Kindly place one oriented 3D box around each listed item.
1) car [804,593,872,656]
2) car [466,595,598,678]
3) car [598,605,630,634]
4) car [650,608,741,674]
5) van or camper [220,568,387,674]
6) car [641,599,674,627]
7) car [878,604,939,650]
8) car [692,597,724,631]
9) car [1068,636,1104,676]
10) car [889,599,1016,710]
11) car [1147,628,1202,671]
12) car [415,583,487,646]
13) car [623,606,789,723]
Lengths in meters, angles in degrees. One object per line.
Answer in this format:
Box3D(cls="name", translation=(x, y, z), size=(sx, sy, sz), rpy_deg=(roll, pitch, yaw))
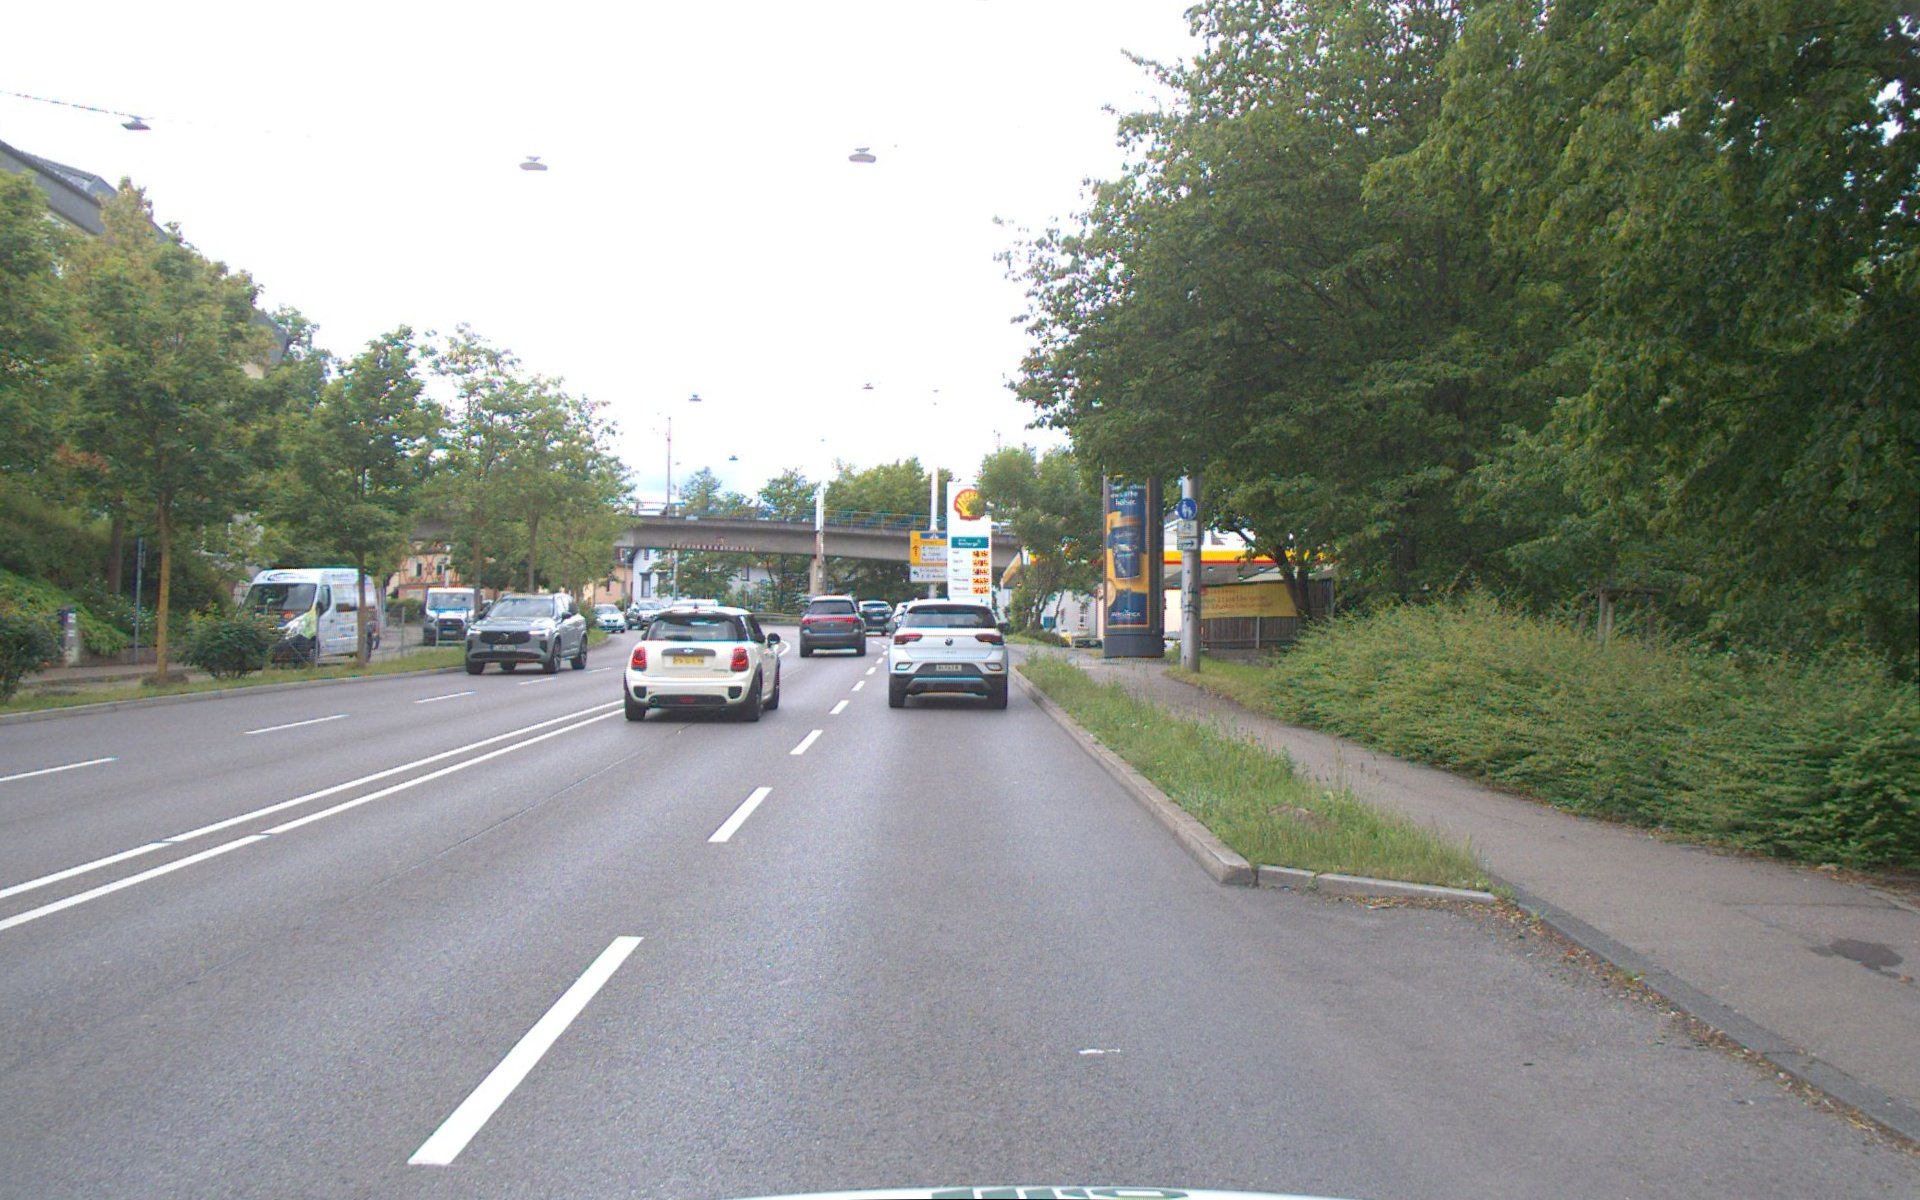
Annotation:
Box3D(cls="car", translation=(-3.390, 0.671, 46.365), size=(1.687, 1.668, 3.456), rpy_deg=(1, 0, -1))
Box3D(cls="car", translation=(-9.519, 0.772, 37.160), size=(1.728, 1.738, 4.869), rpy_deg=(0, 0, -1))
Box3D(cls="car", translation=(-18.291, 1.005, 87.478), size=(1.537, 1.456, 3.881), rpy_deg=(0, 0, -10))
Box3D(cls="car", translation=(-6.864, 1.034, 43.312), size=(1.728, 1.620, 4.365), rpy_deg=(0, 0, -1))
Box3D(cls="van or camper", translation=(-16.742, 0.518, 42.522), size=(1.952, 2.516, 5.710), rpy_deg=(-1, 0, 1))
Box3D(cls="car", translation=(-17.238, 0.740, 94.144), size=(1.754, 1.565, 4.063), rpy_deg=(0, 0, -12))
Box3D(cls="car", translation=(-1.698, 0.866, 53.931), size=(1.644, 1.433, 3.450), rpy_deg=(1, 0, -8))
Box3D(cls="car", translation=(-15.032, 0.817, 98.585), size=(1.863, 1.971, 3.991), rpy_deg=(0, 0, -9))
Box3D(cls="car", translation=(6.878, 3.082, 90.641), size=(1.699, 2.046, 4.712), rpy_deg=(-1, -4, 1))
Box3D(cls="car", translation=(-0.124, 0.769, 24.846), size=(1.760, 1.545, 3.456), rpy_deg=(1, 0, -1))
Box3D(cls="car", translation=(8.316, 1.963, 64.481), size=(1.699, 1.512, 3.877), rpy_deg=(-1, -4, 1))
Box3D(cls="car", translation=(-19.788, 0.543, 64.478), size=(2.229, 2.313, 6.305), rpy_deg=(-1, 0, -13))
Box3D(cls="car", translation=(-3.270, 0.793, 21.892), size=(1.687, 1.400, 3.456), rpy_deg=(1, 0, -1))
